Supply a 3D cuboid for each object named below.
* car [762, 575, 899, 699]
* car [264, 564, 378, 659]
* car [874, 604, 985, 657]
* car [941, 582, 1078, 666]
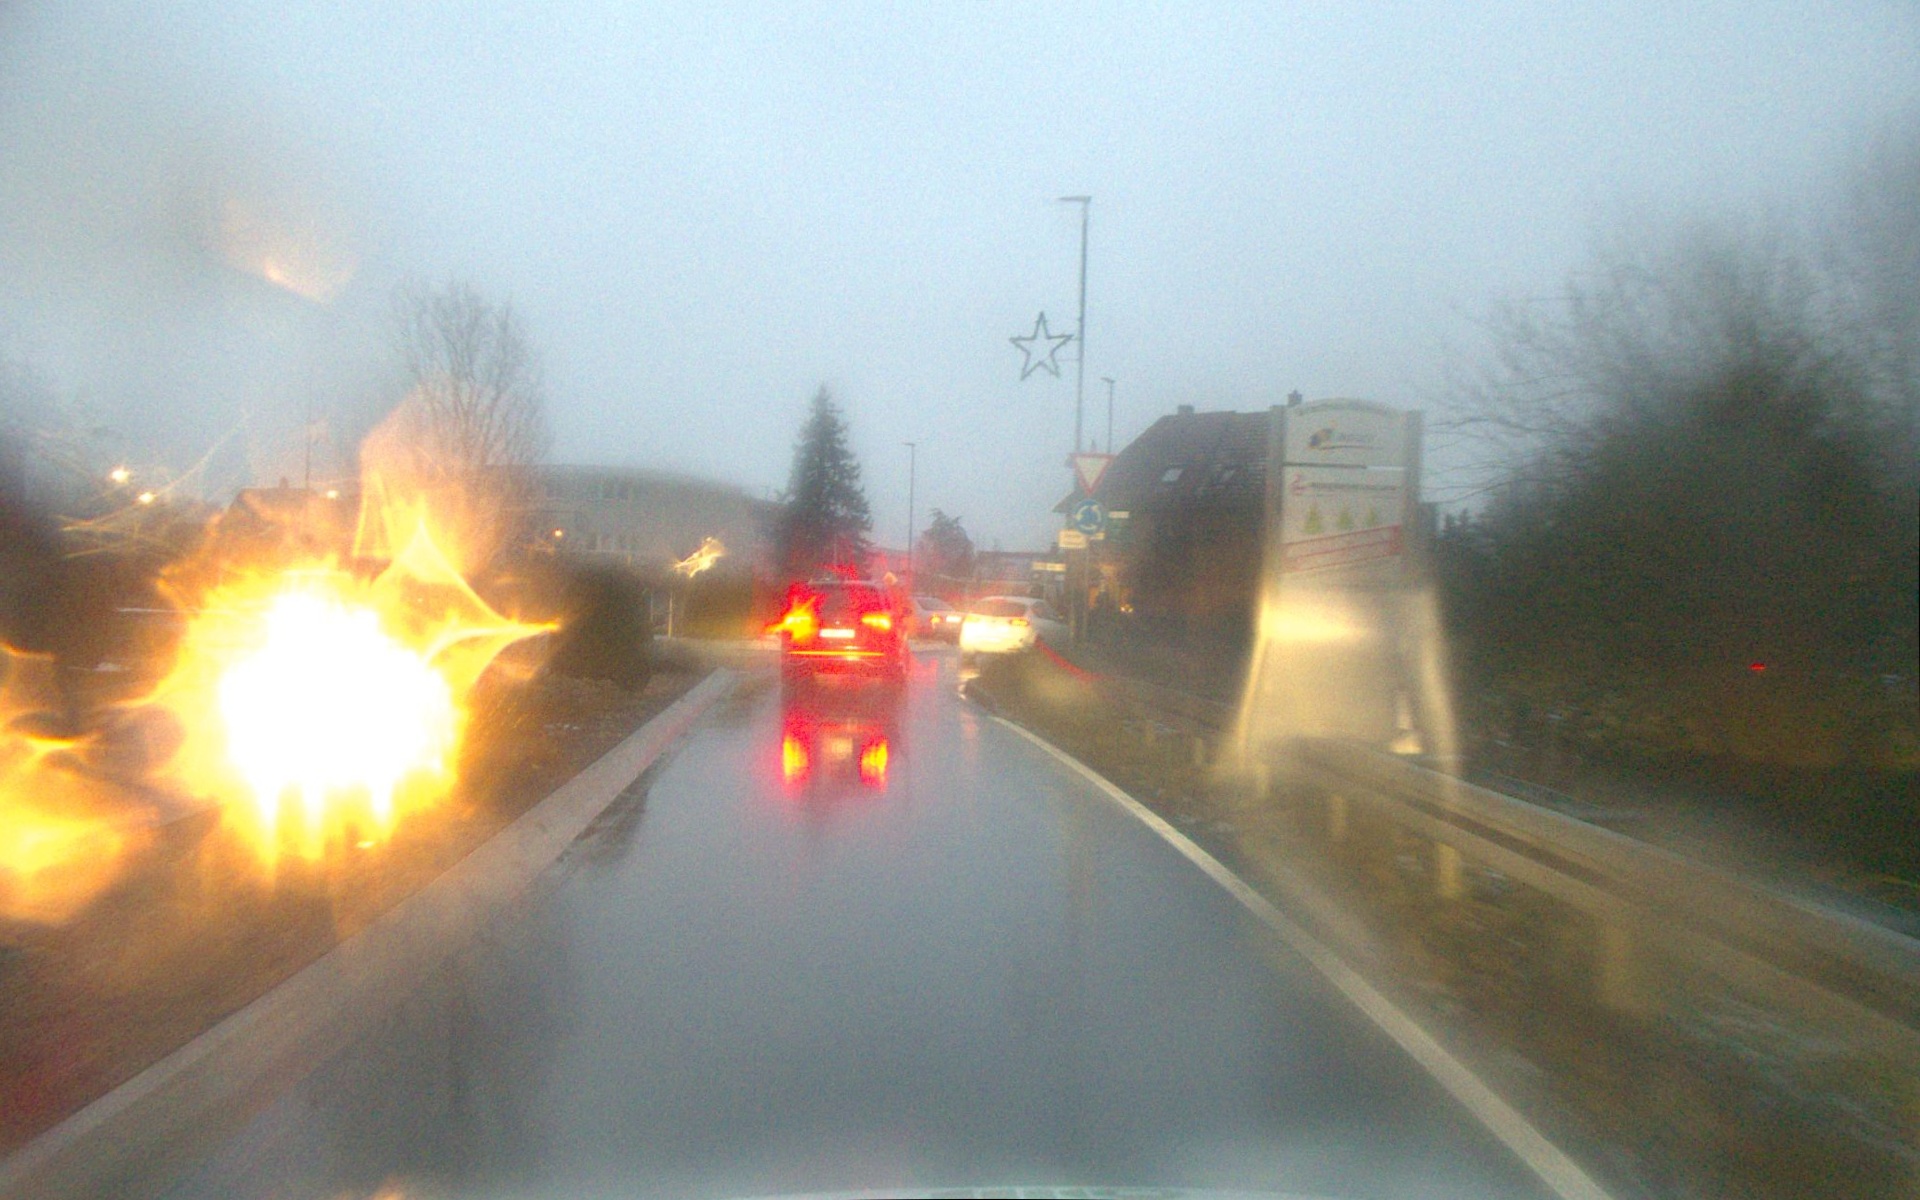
[{"bbox_3d":[-1.971,0.543,26.244,1.905,1.748,3.998,2,0,-2],"label":"car"},{"bbox_3d":[-10.878,0.171,28.347,1.582,1.495,3.667,1,0,-18],"label":"car"},{"bbox_3d":[-1.037,1.011,53.927,1.860,1.643,4.531,2,-2,-26],"label":"car"},{"bbox_3d":[1.212,0.493,37.755,2.117,1.719,4.575,2,1,15],"label":"car"}]
